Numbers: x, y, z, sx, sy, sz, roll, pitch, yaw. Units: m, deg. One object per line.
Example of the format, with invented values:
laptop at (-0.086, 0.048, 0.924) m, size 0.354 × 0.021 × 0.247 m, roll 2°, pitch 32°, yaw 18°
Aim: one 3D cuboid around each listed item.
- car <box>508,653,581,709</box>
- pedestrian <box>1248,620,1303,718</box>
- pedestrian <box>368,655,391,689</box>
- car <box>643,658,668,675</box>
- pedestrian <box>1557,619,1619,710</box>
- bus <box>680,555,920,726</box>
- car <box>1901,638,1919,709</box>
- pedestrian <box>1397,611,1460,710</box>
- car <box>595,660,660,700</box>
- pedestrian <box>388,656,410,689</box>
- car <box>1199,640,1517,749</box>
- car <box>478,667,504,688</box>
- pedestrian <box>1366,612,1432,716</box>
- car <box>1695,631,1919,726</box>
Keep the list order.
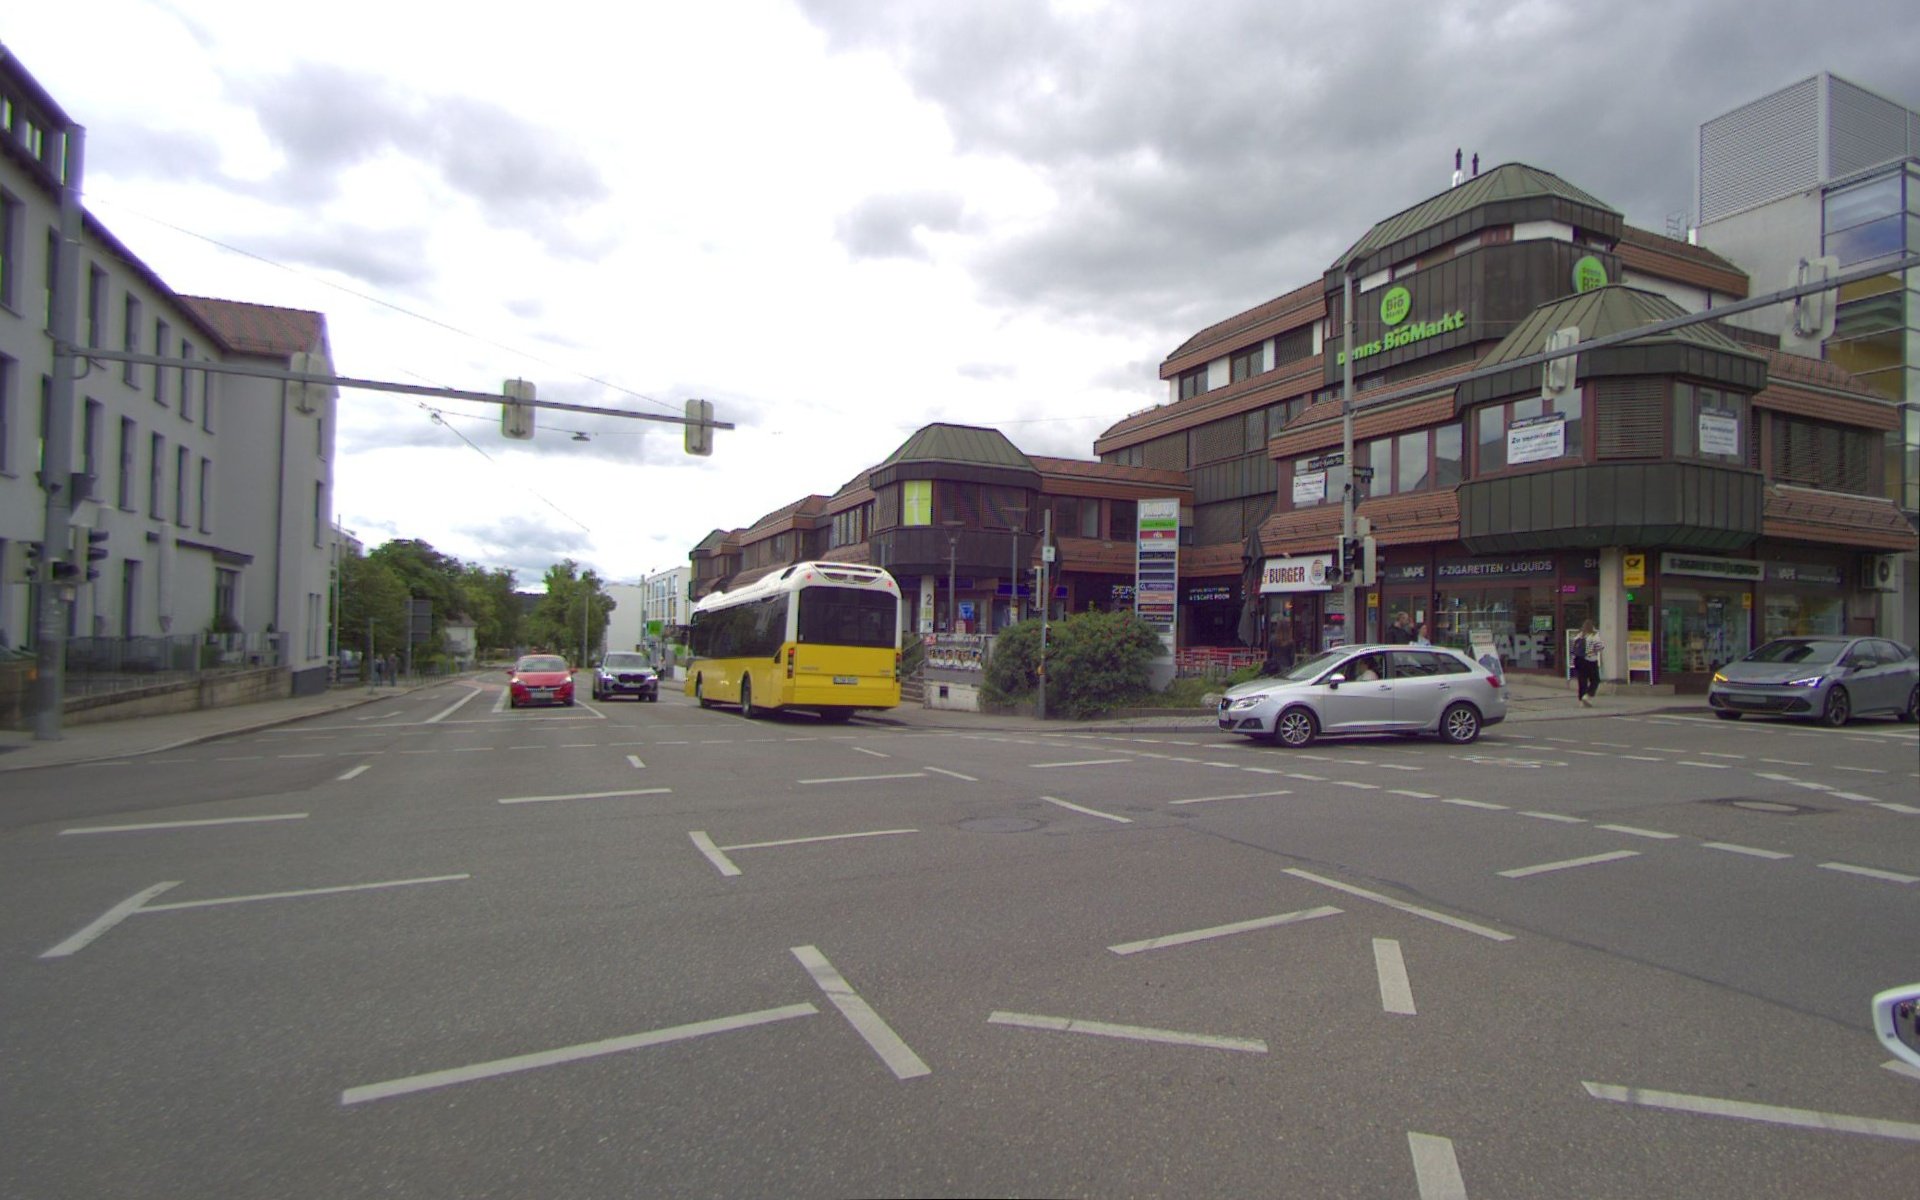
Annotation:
car at (-12.125, 2.309, 29.247) m, size 1.790 × 1.505 × 3.978 m, roll 2°, pitch -4°, yaw -24°
pedestrian at (5.695, 1.228, 18.143) m, size 0.796 × 1.736 × 0.702 m, roll 0°, pitch -1°, yaw 3°
pedestrian at (-29.868, 3.699, 51.678) m, size 0.851 × 1.674 × 0.859 m, roll 1°, pitch -1°, yaw -22°
car at (-22.020, 4.793, 72.549) m, size 1.321 × 1.179 × 2.976 m, roll 1°, pitch -4°, yaw -24°
pedestrian at (12.094, 1.225, 19.354) m, size 0.768 × 1.715 × 0.745 m, roll 1°, pitch -1°, yaw -29°
bus at (-4.721, 1.188, 25.986) m, size 2.956 × 3.370 × 12.235 m, roll 1°, pitch -4°, yaw -25°
car at (21.972, 1.582, 21.290) m, size 3.948 × 1.462 × 1.696 m, roll 2°, pitch -1°, yaw -26°
pedestrian at (8.956, 1.141, 19.207) m, size 0.766 × 1.832 × 0.806 m, roll 1°, pitch 0°, yaw -32°
car at (-11.367, 2.693, 34.238) m, size 1.776 × 1.295 × 3.498 m, roll 2°, pitch -4°, yaw -24°
pedestrian at (-29.046, 3.734, 52.015) m, size 0.851 × 1.674 × 0.859 m, roll 1°, pitch -1°, yaw -22°
car at (5.884, 1.367, 15.108) m, size 4.119 × 1.436 × 1.639 m, roll -1°, pitch -2°, yaw -5°
car at (-27.663, 4.580, 59.312) m, size 1.321 × 1.179 × 2.976 m, roll 1°, pitch -4°, yaw -24°
pedestrian at (8.027, 1.151, 18.380) m, size 0.738 × 1.832 × 0.806 m, roll 1°, pitch 0°, yaw -32°
car at (15.435, 1.342, 18.047) m, size 4.328 × 1.537 × 1.753 m, roll 1°, pitch -2°, yaw -26°
